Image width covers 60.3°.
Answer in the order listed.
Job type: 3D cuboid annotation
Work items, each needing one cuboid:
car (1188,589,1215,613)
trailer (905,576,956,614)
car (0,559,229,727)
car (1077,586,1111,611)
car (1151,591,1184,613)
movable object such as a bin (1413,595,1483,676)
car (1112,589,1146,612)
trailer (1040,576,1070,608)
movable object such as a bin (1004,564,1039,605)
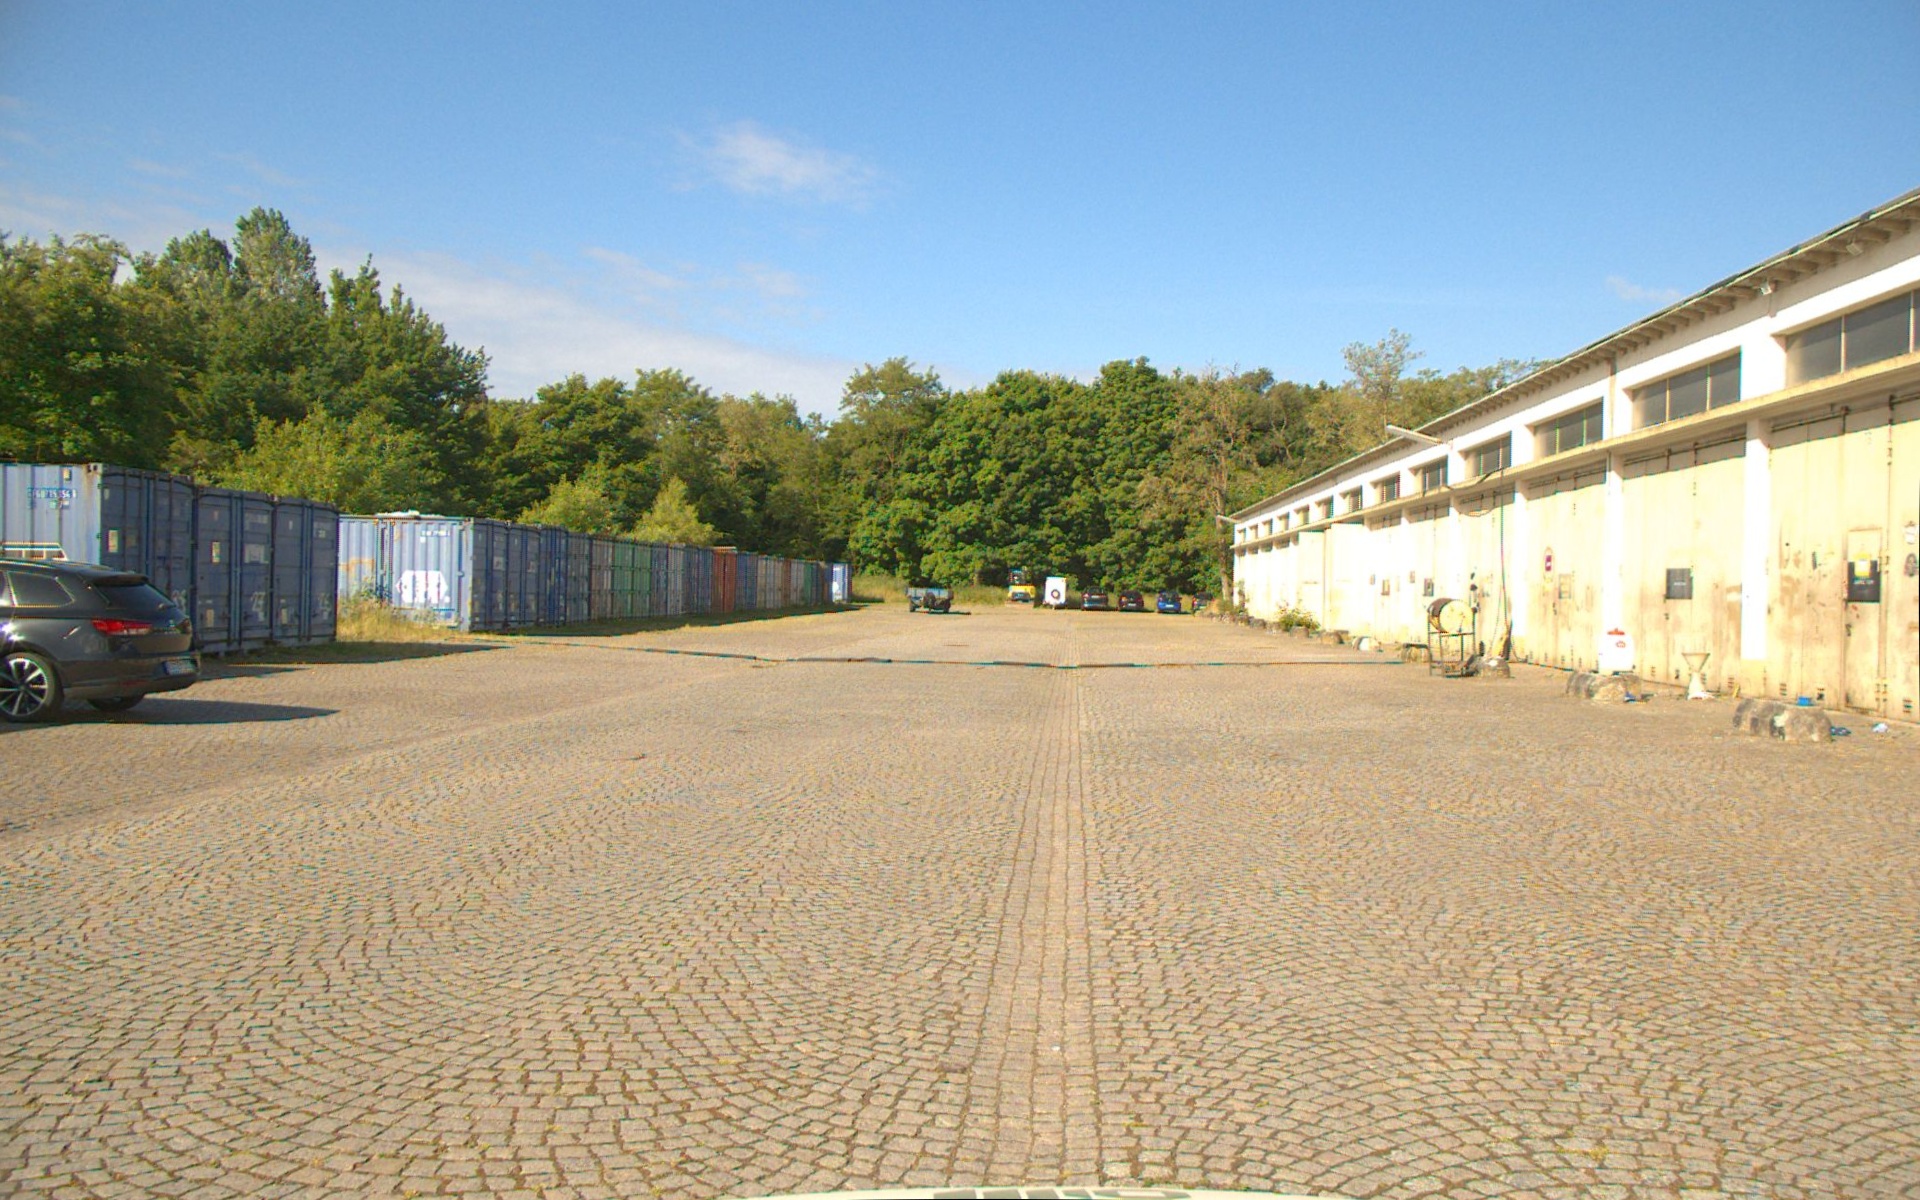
[{"bbox_3d":[16.568,0.061,113.422,1.649,1.591,4.004,1,0,11],"label":"car"},{"bbox_3d":[-1.662,-0.290,95.567,2.356,2.048,4.176,3,1,6],"label":"trailer"},{"bbox_3d":[-9.250,0.325,15.501,3.968,1.437,1.731,2,0,-2],"label":"car"},{"bbox_3d":[9.132,-0.117,112.352,1.821,1.613,4.004,1,0,11],"label":"car"},{"bbox_3d":[14.067,0.122,112.226,1.951,1.445,4.004,1,0,11],"label":"car"},{"bbox_3d":[8.473,0.597,28.767,0.807,1.355,1.280,1,0,-1],"label":"movable object such as a bin"},{"bbox_3d":[11.495,0.023,112.392,1.951,1.488,4.004,1,0,11],"label":"car"},{"bbox_3d":[6.590,-0.581,114.217,1.755,2.126,3.975,1,0,8],"label":"trailer"},{"bbox_3d":[4.274,-1.046,114.644,1.951,2.663,4.003,3,1,8],"label":"movable object such as a bin"}]
